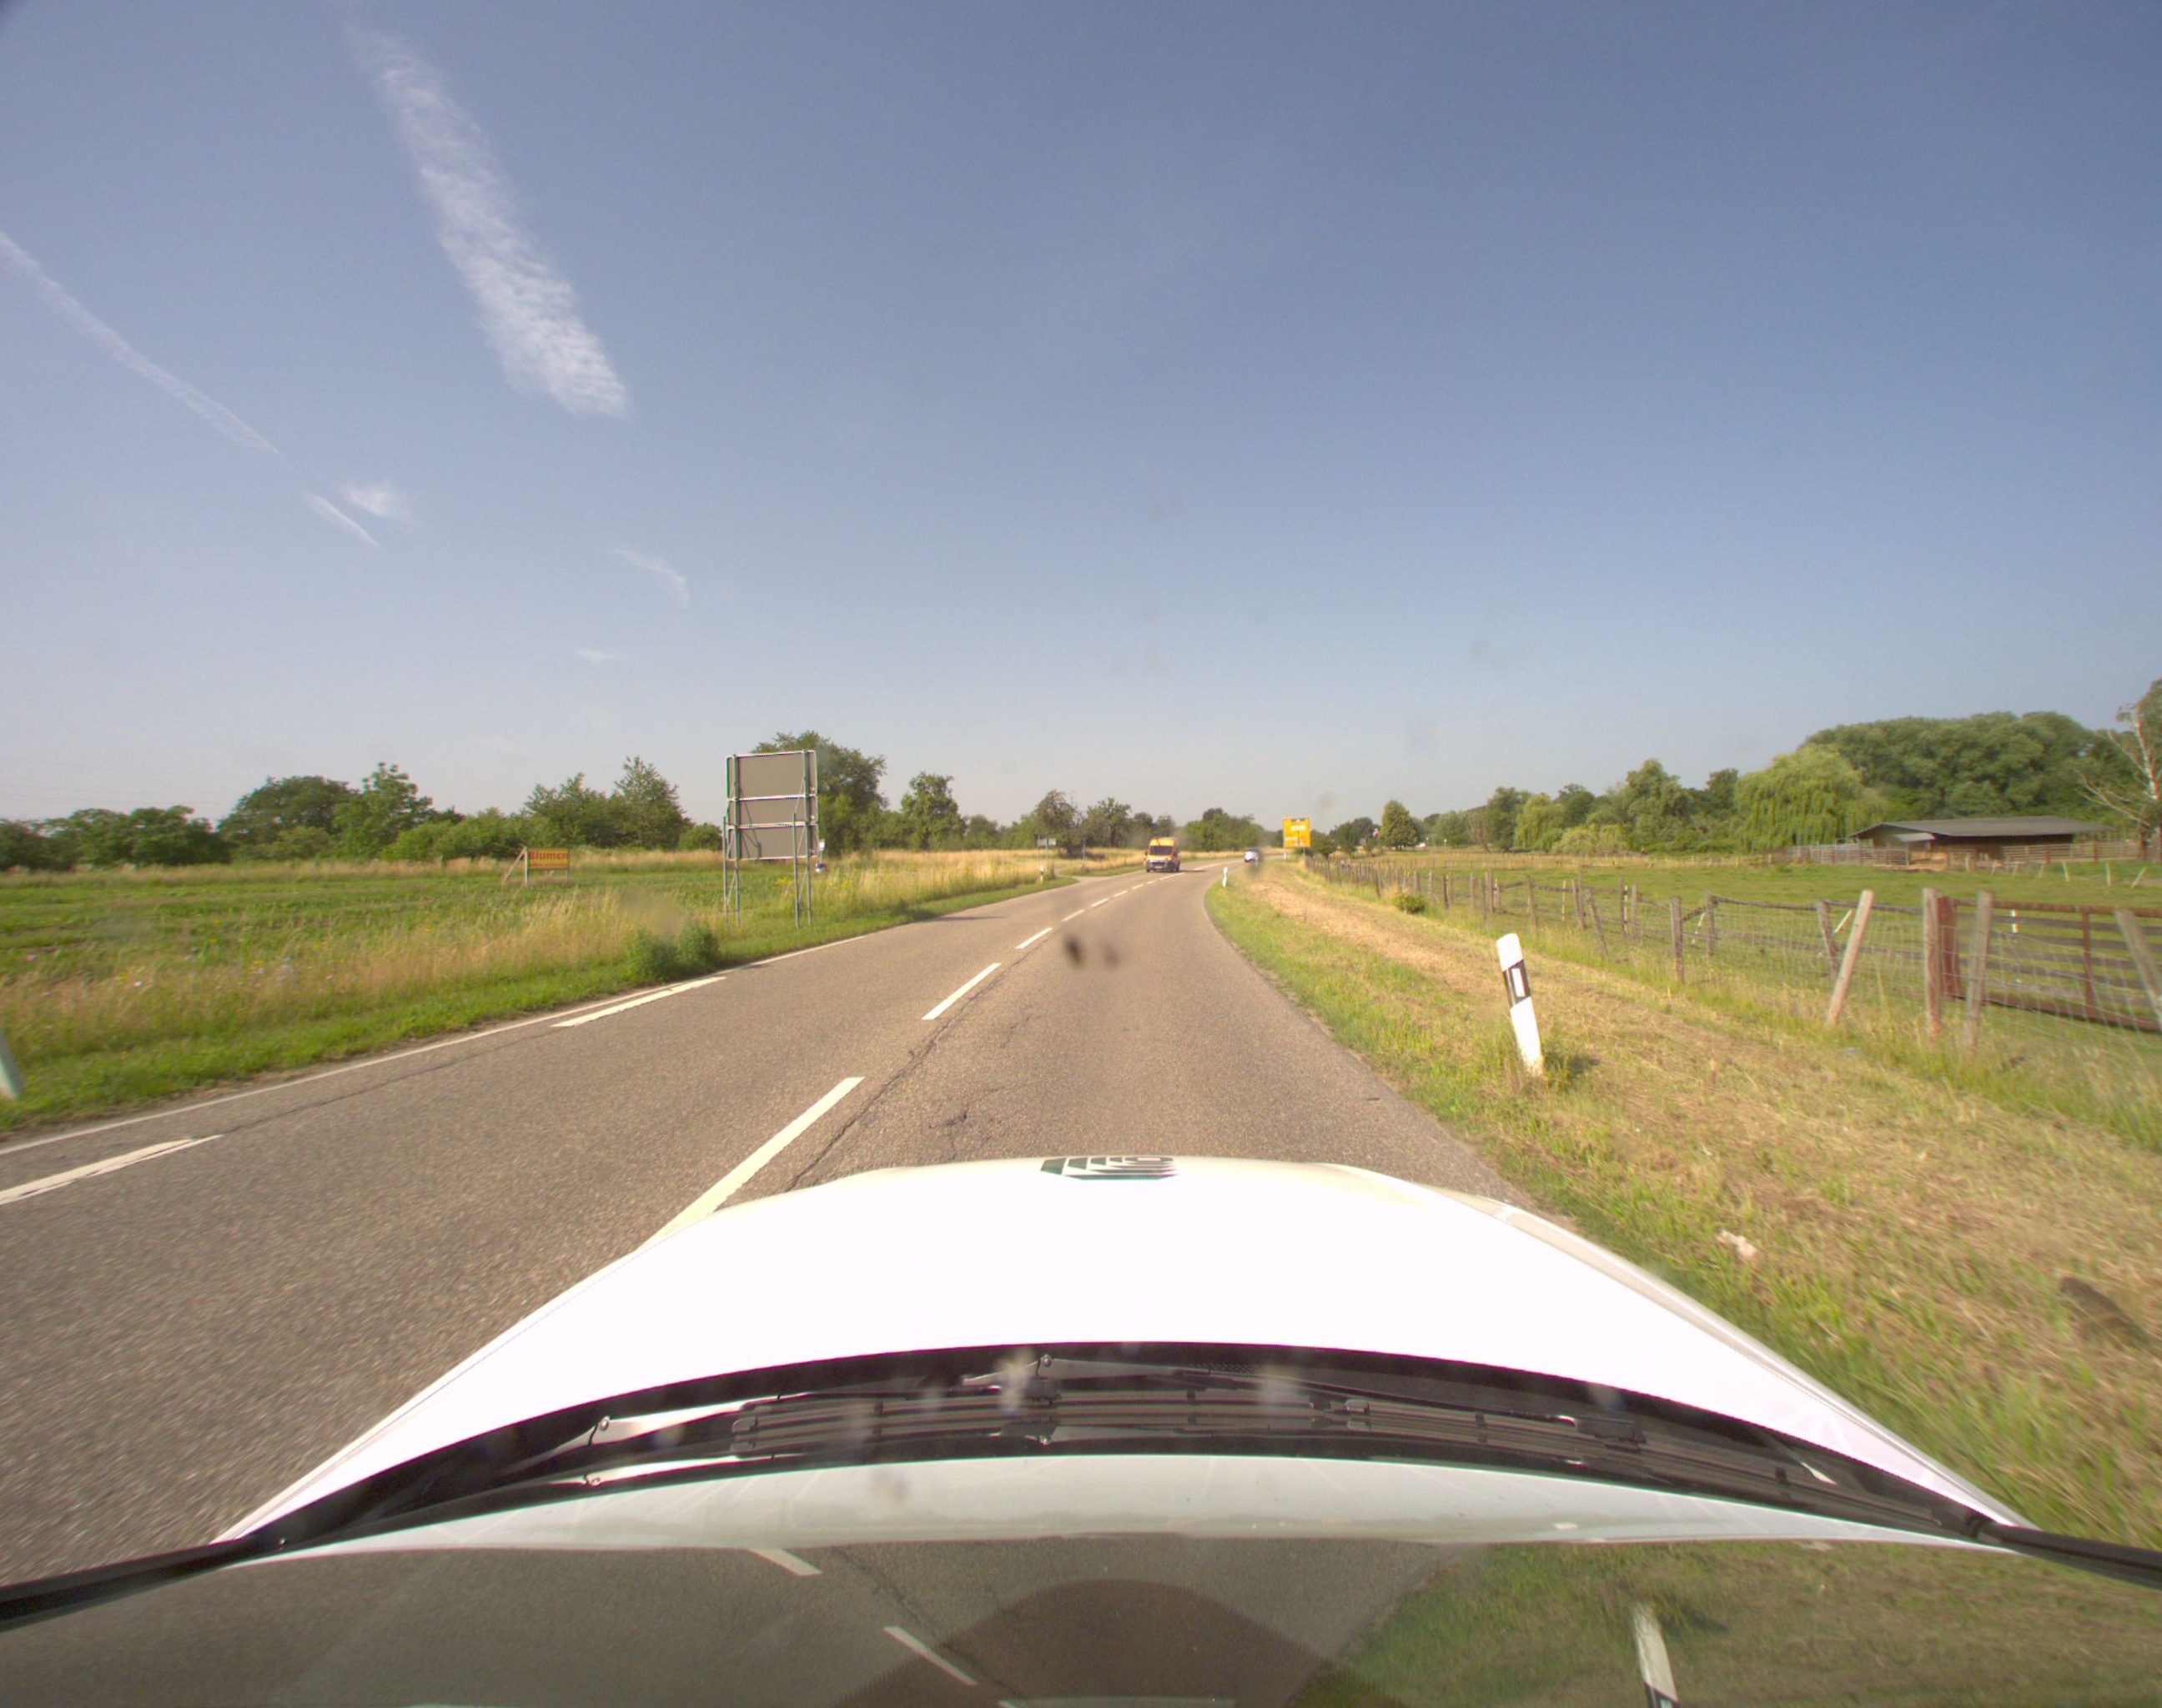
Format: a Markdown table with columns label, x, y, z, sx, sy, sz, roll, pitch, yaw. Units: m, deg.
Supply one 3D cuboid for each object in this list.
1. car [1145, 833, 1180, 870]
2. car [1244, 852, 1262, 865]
| label | x | y | z | sx | sy | sz | roll | pitch | yaw |
| --- | --- | --- | --- | --- | --- | --- | --- | --- | --- |
| car | 6.206 | -0.171 | 61.604 | 2.110 | 2.696 | 5.285 | 0 | 0 | 12 |
| car | 19.808 | 0.489 | 93.653 | 1.885 | 1.512 | 4.016 | 0 | 0 | 15 |
